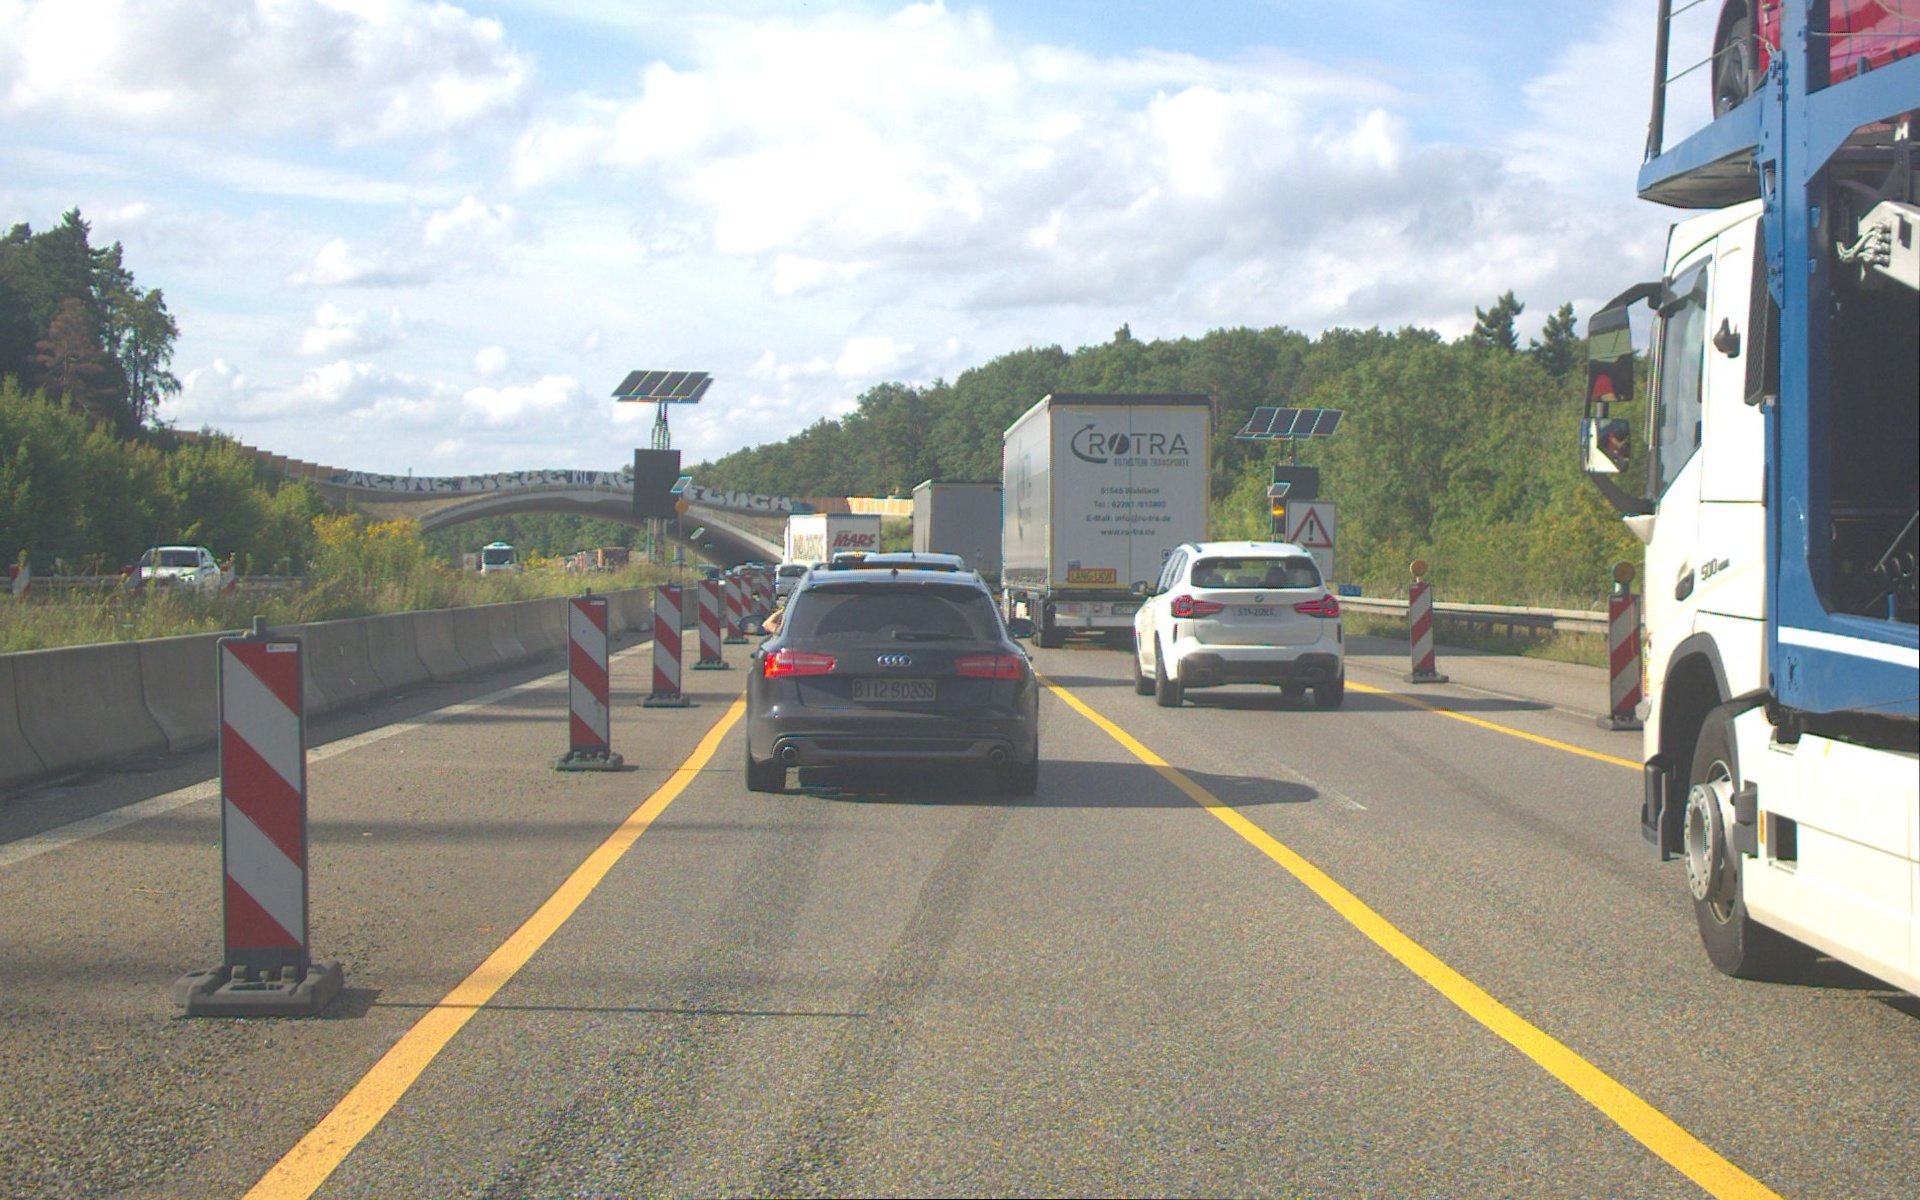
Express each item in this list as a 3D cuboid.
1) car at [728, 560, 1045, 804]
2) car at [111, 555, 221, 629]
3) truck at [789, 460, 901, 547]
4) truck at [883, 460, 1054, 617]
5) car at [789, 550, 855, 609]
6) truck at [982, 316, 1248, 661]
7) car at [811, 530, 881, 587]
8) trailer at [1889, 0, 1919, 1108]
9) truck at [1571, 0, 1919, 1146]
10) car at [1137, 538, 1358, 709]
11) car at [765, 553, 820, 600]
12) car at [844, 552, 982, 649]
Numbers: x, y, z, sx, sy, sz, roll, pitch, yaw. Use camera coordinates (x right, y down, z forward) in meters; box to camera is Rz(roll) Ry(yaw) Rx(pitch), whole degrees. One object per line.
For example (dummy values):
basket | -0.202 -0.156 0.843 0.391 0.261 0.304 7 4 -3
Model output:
car | -0.469 0.480 22.724 1.890 1.441 4.000 1 0 -1
car | -19.769 -0.215 85.746 1.778 1.780 4.365 1 0 -1
truck | -5.638 -4.568 165.597 3.653 3.915 11.070 1 0 -11
truck | 0.138 -1.870 107.739 4.318 4.585 11.126 1 0 -5
car | -4.829 -0.730 119.931 1.993 2.007 4.001 1 0 -6
truck | 2.479 -1.800 61.862 3.677 5.335 16.202 1 0 -1
car | -3.404 -1.238 102.302 1.890 1.638 4.018 1 0 -4
trailer | 4.582 -0.632 1.464 3.726 4.182 16.228 1 0 -1
truck | 4.392 -0.652 9.683 3.761 4.182 7.951 1 0 -1
car | 2.922 0.216 35.708 1.890 1.638 4.018 1 0 -1
car | -7.322 -1.019 150.156 1.993 2.007 4.001 1 0 -8
car | -0.775 -0.012 54.142 1.890 1.441 4.001 1 0 -5
